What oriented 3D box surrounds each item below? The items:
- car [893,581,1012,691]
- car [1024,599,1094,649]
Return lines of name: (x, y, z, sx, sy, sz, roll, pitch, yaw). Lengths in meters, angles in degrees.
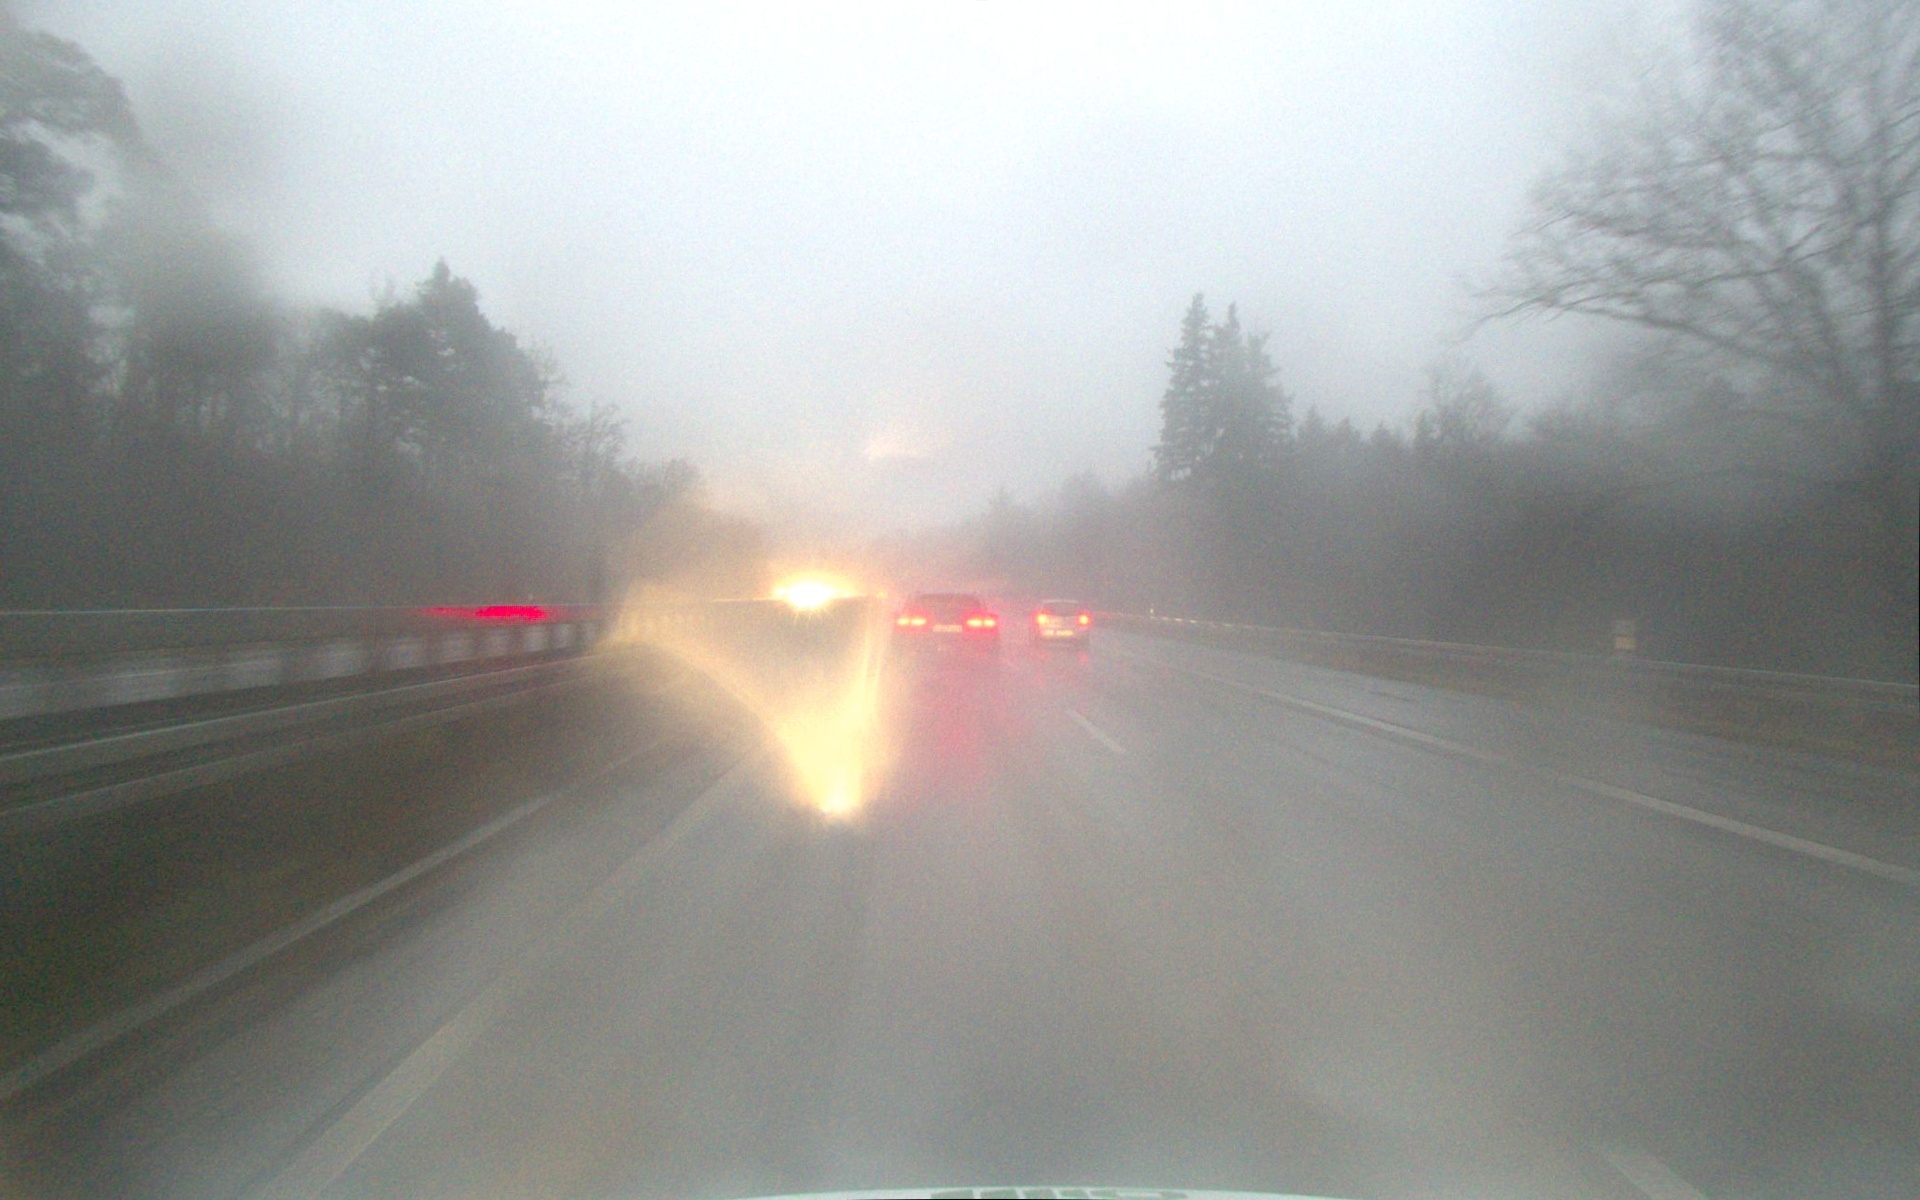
car: (-0.200, 0.584, 29.331, 1.946, 1.798, 4.171, 0, 0, -2)
car: (2.968, 0.710, 50.343, 1.744, 1.462, 3.535, 1, 0, -3)
